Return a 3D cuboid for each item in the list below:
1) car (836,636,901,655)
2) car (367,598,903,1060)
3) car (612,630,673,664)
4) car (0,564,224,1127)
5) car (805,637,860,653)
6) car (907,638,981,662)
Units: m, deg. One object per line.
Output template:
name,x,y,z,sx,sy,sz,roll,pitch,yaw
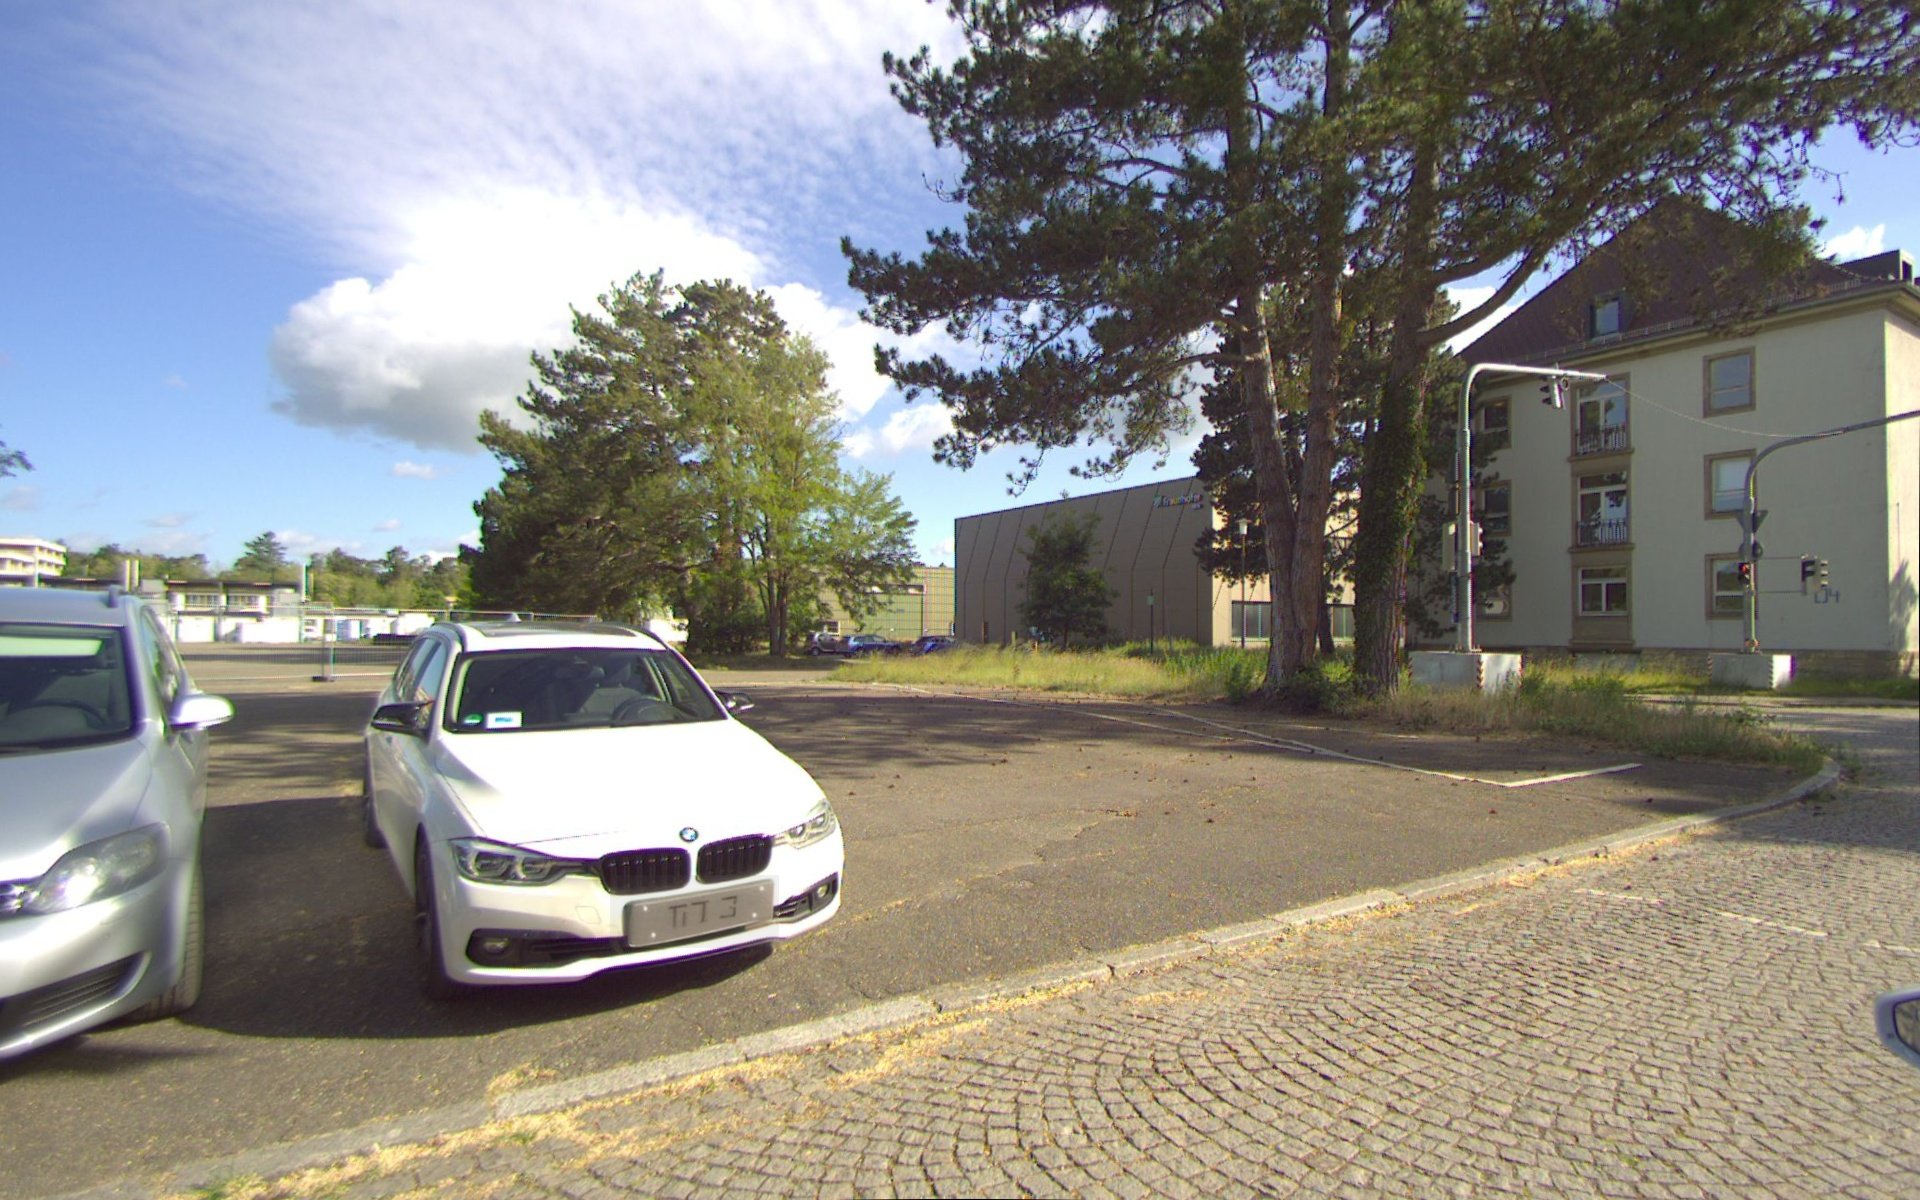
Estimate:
car,-5.899,2.927,64.687,3.952,1.221,1.480,1,-2,-29
car,-2.241,0.796,5.798,1.735,1.487,4.511,1,1,-34
car,-13.449,1.953,42.467,1.727,1.388,3.594,1,-2,-30
car,-4.245,0.669,4.305,1.706,1.647,3.915,1,1,-36
car,-9.041,3.172,71.269,3.635,1.090,1.399,1,-2,-29
car,-0.878,2.798,56.852,4.003,1.311,1.480,1,-2,-30
